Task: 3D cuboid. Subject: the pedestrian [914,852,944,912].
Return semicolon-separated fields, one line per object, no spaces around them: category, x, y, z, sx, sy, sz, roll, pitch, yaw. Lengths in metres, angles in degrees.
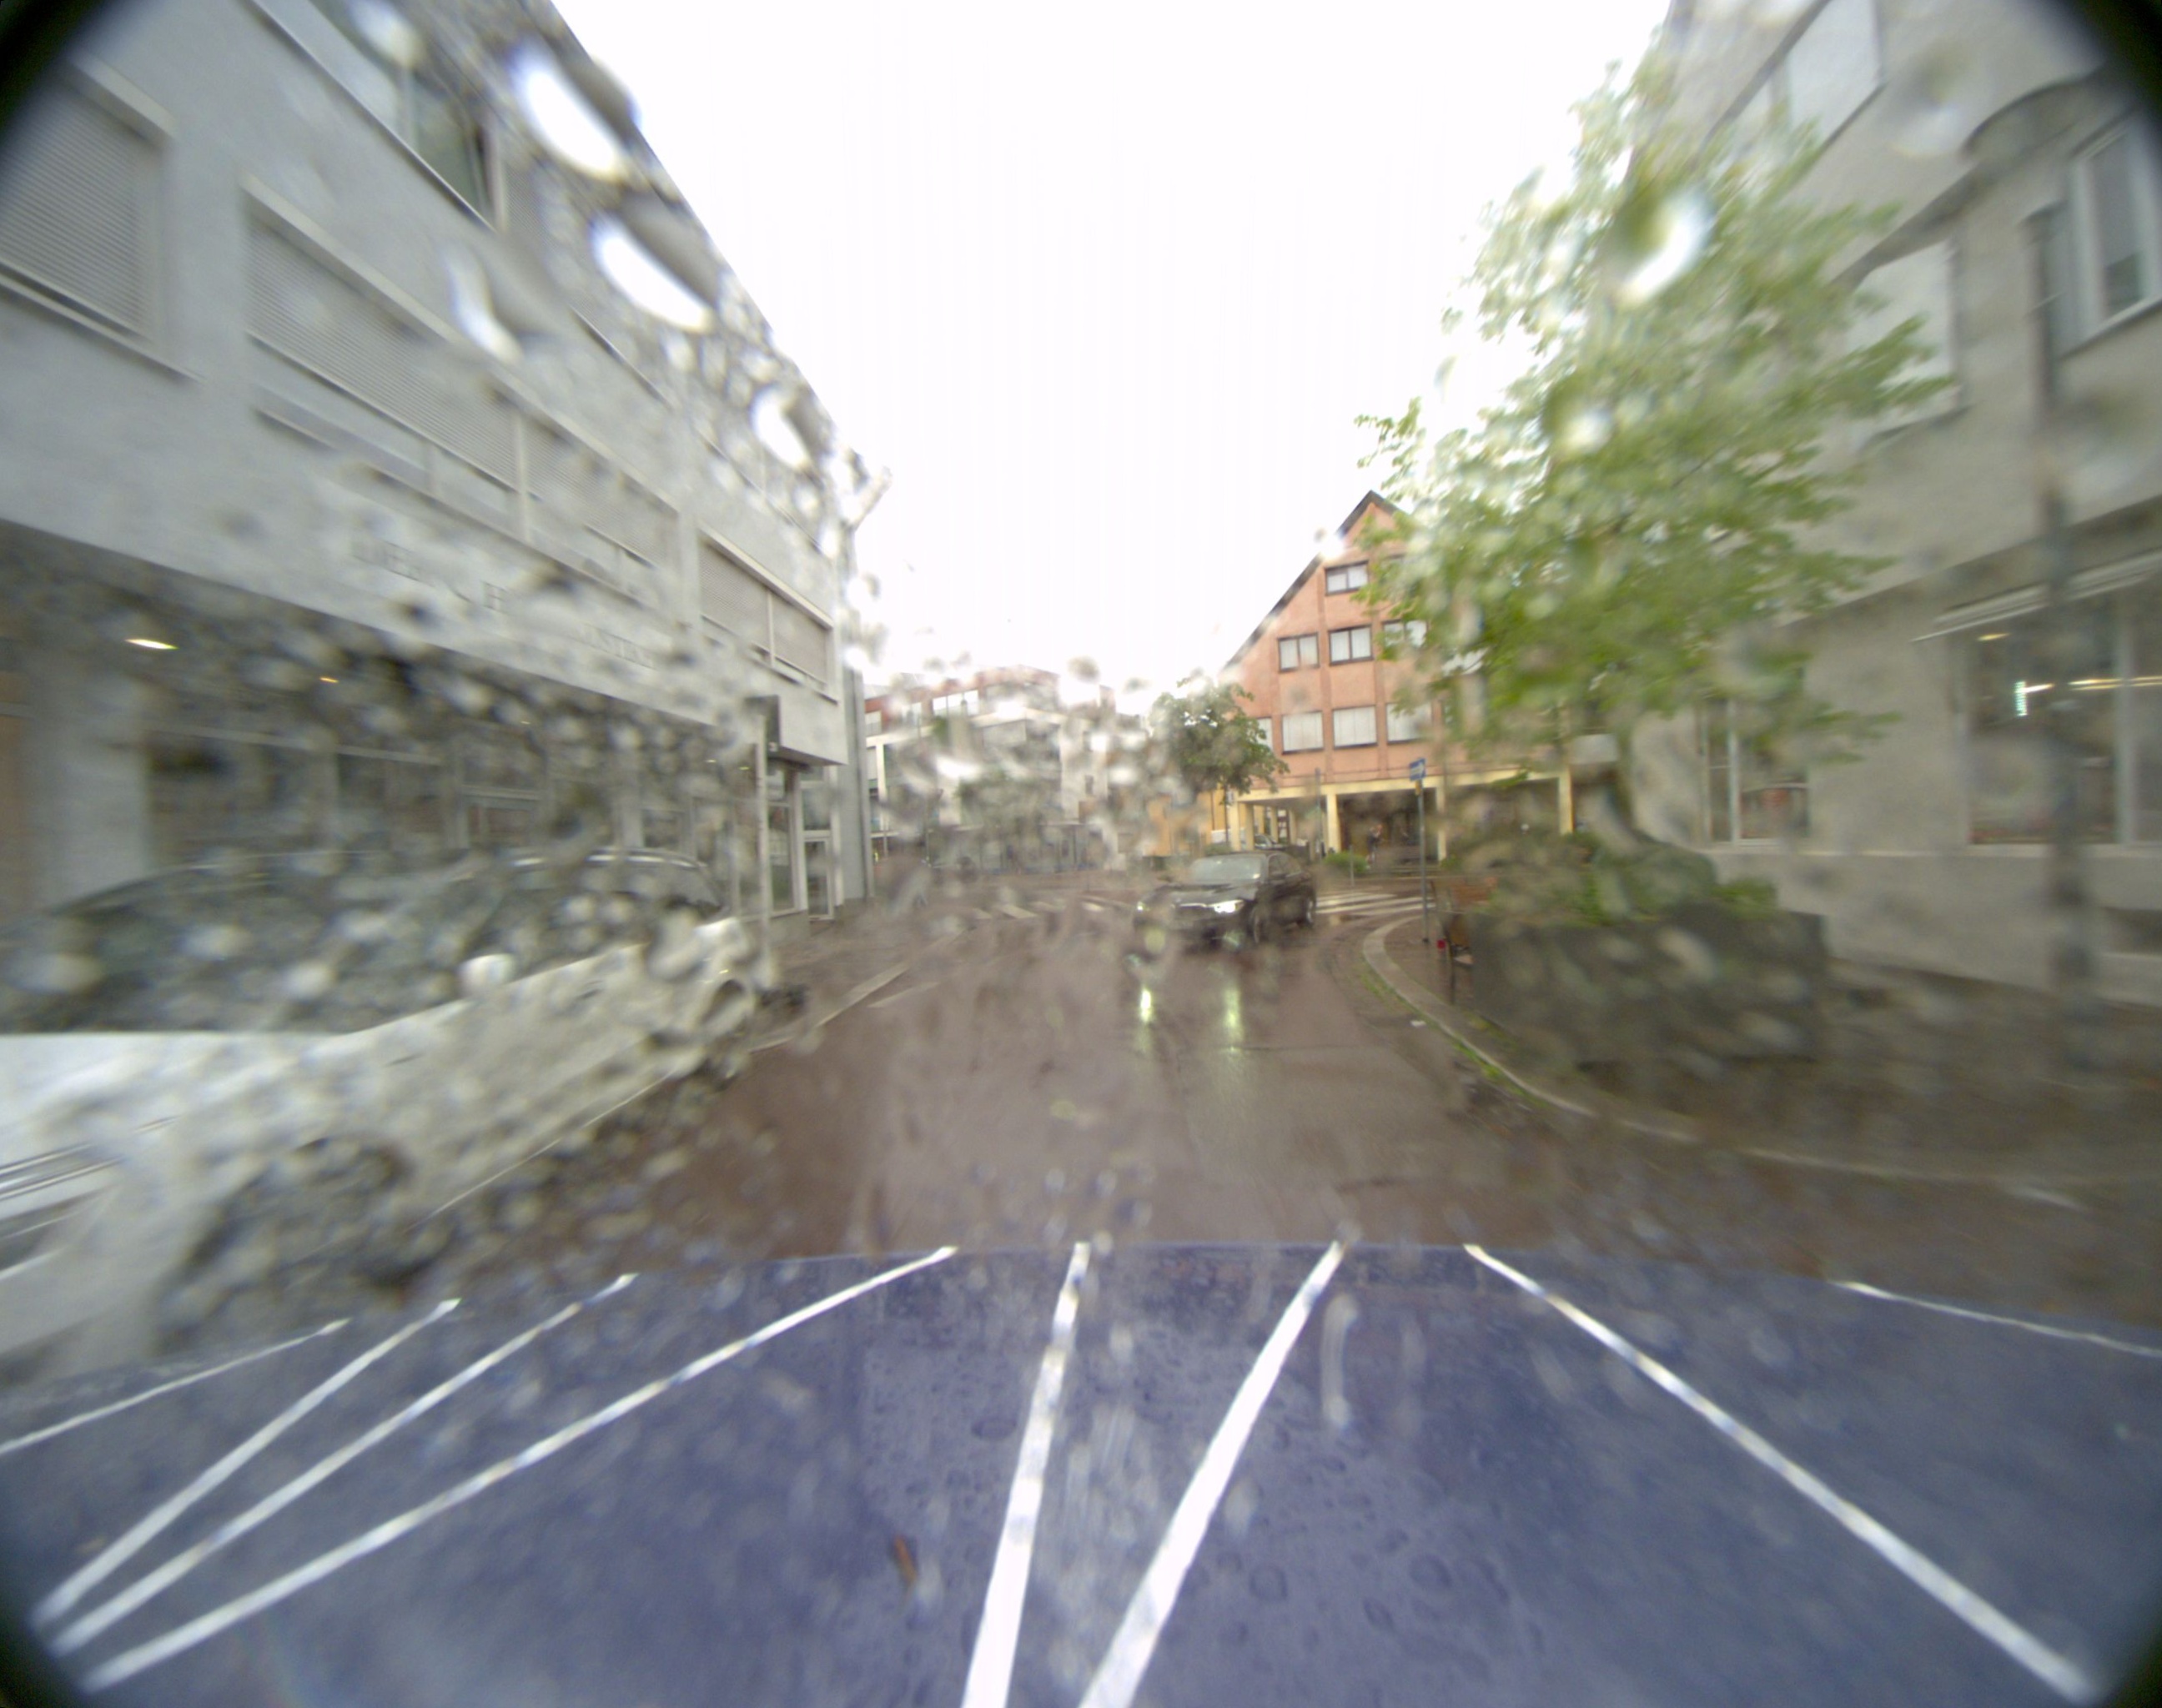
pedestrian;-4.695;0.848;23.450;0.674;1.801;0.679;-3;1;-25

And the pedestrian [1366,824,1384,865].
pedestrian;11.746;-0.370;30.384;0.586;1.623;0.480;-2;1;26

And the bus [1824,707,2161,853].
bus;26.295;-1.875;19.216;10.672;3.281;2.683;-2;1;17

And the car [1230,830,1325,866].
car;9.198;-0.279;35.560;3.991;1.477;2.003;-2;1;23

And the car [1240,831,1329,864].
car;10.166;-0.347;37.899;3.991;1.477;2.003;-2;1;23

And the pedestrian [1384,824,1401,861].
pedestrian;12.382;-0.454;30.190;0.586;1.430;0.480;-2;1;26

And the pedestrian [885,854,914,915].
pedestrian;-5.477;0.906;22.955;0.700;1.801;0.510;-3;1;-25

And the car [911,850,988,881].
car;-7.299;0.647;42.061;3.989;1.565;1.722;-2;1;31

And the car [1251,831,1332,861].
car;11.363;-0.434;40.995;3.991;1.477;2.003;-2;1;23

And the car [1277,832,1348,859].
car;14.266;-0.512;46.781;3.991;1.477;2.003;-2;1;23

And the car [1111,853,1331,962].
car;2.622;0.777;13.015;1.995;1.398;4.902;-3;0;32

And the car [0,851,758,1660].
car;-3.199;0.876;3.370;1.694;1.680;4.277;-2;1;-1

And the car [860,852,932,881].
car;-10.938;0.722;44.912;3.989;1.565;1.722;-2;1;31
